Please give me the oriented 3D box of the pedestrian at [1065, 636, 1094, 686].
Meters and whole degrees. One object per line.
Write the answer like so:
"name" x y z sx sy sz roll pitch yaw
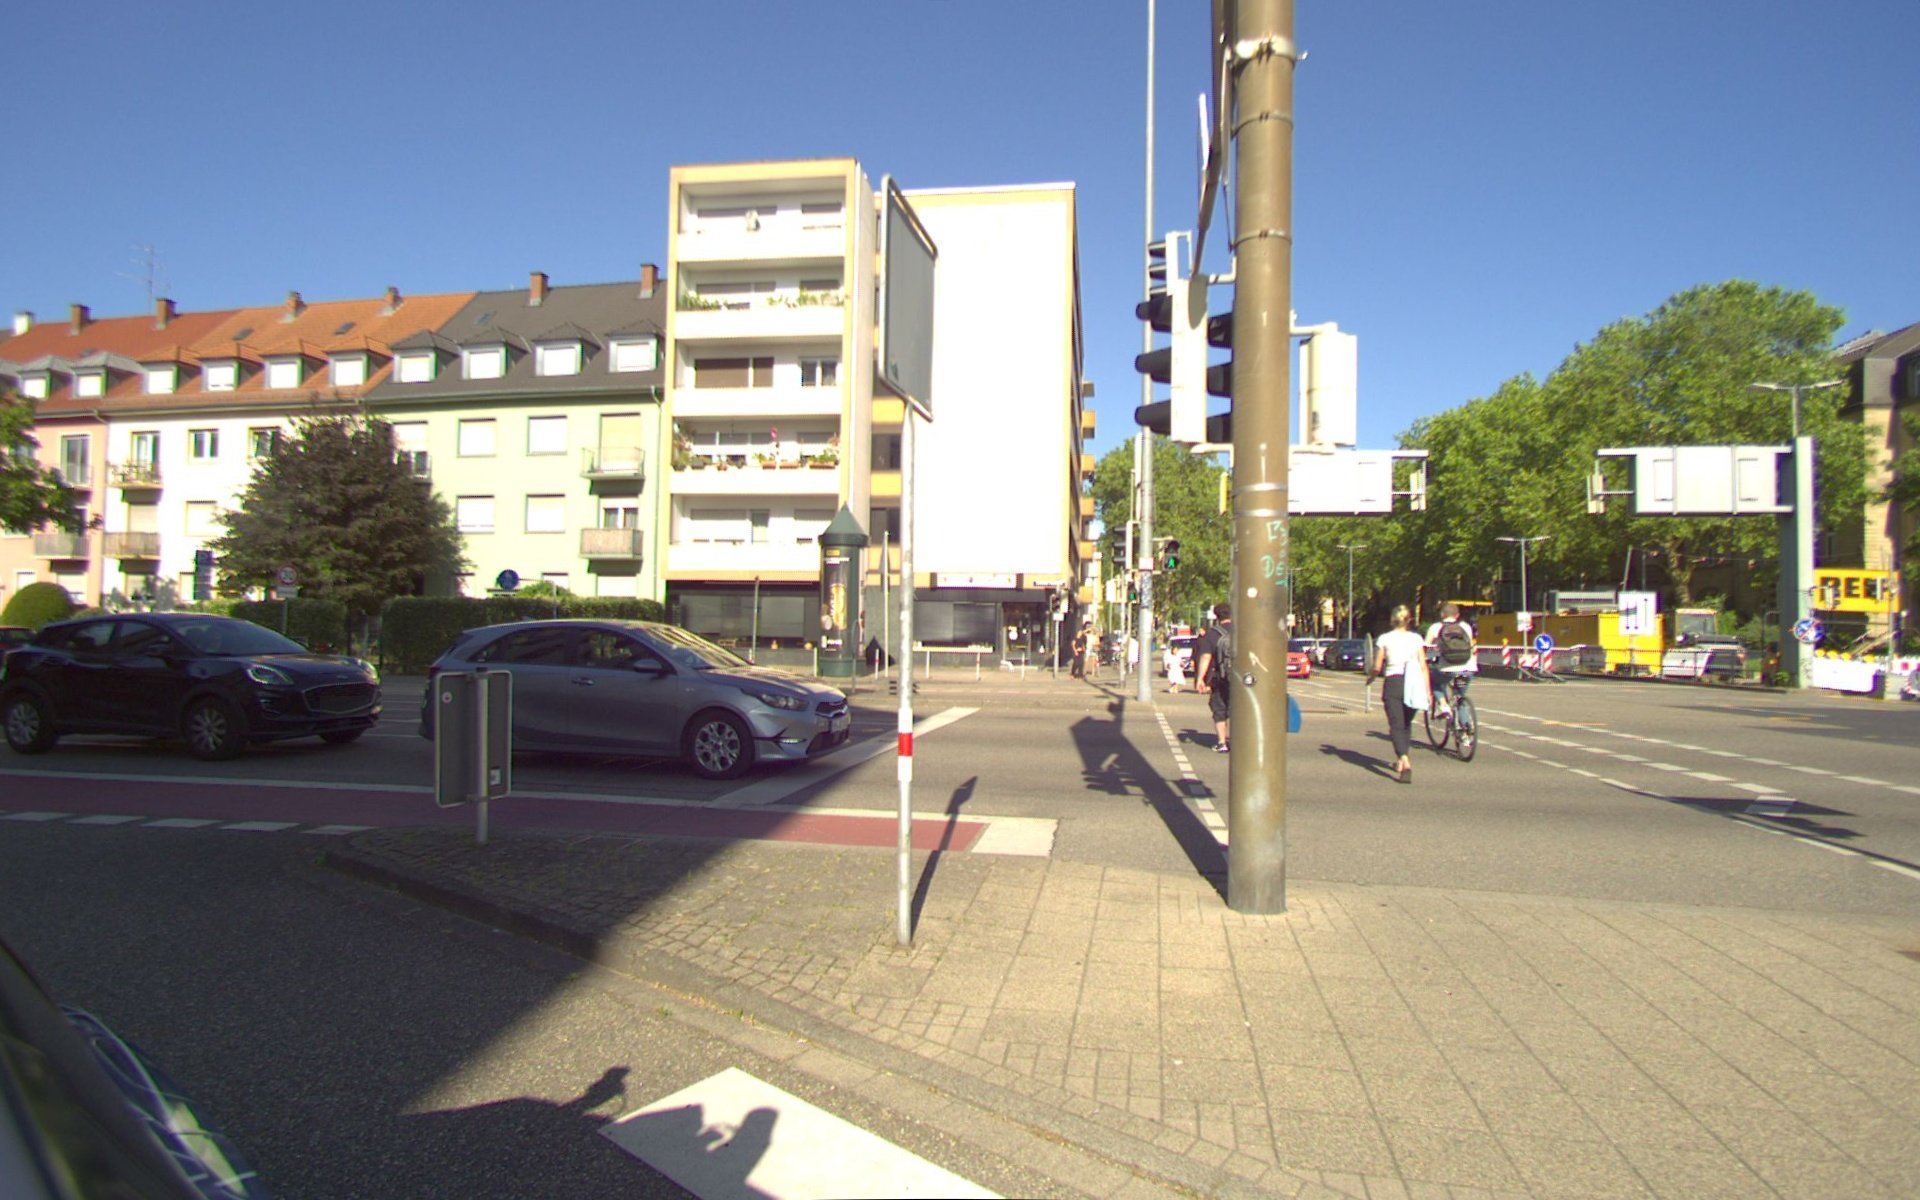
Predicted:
"pedestrian" 4.139 2.108 35.087 0.707 1.692 0.699 -1 0 -20

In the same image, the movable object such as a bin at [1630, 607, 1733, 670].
"movable object such as a bin" 30.725 1.578 43.265 1.977 2.494 3.989 -1 0 9

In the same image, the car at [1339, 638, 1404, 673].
"car" 18.821 2.520 46.458 1.863 1.530 3.989 0 -2 9

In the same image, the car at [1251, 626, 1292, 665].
"car" 20.638 2.998 67.250 1.862 2.532 4.440 0 -2 8

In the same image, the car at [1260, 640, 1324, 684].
"car" 12.389 2.279 38.013 1.865 1.530 3.983 -1 -2 13

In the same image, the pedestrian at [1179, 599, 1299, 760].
"pedestrian" 3.036 0.824 11.076 0.784 1.656 0.988 -1 0 -28

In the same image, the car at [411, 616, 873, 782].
"car" -3.055 0.896 10.069 4.016 1.419 1.877 -1 -2 13

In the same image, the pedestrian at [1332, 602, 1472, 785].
"pedestrian" 4.188 0.839 9.624 0.773 1.619 0.933 -1 0 -28

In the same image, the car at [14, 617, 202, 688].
"car" -24.057 1.455 28.633 4.119 1.871 1.801 -1 0 8

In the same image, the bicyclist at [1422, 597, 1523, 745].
"bicyclist" 5.618 0.757 11.144 0.864 1.546 0.847 -1 -1 20

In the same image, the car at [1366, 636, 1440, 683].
"car" 17.129 2.264 39.331 1.865 1.530 3.984 -1 0 13

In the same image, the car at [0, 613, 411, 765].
"car" -8.489 0.926 11.316 4.034 1.503 1.689 -1 -2 13

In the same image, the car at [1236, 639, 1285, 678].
"car" 13.776 2.670 46.609 1.865 1.530 3.984 -1 0 13

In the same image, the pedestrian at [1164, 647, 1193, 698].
"pedestrian" 5.335 1.757 24.702 0.642 1.211 0.523 -1 0 17

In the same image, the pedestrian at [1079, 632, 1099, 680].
"pedestrian" 4.656 2.020 36.532 0.711 1.692 0.695 -1 0 8

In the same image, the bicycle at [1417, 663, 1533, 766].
"bicycle" 5.650 1.214 11.223 0.860 0.998 1.890 -1 -3 19

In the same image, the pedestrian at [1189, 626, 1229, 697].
"pedestrian" 5.964 1.463 24.219 0.890 1.634 0.717 -1 0 17

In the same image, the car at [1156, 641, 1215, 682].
"car" 8.909 2.457 40.300 1.863 1.531 4.538 -1 -4 8

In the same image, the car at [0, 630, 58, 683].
"car" -28.973 1.639 29.656 4.009 1.440 1.798 -1 0 13
